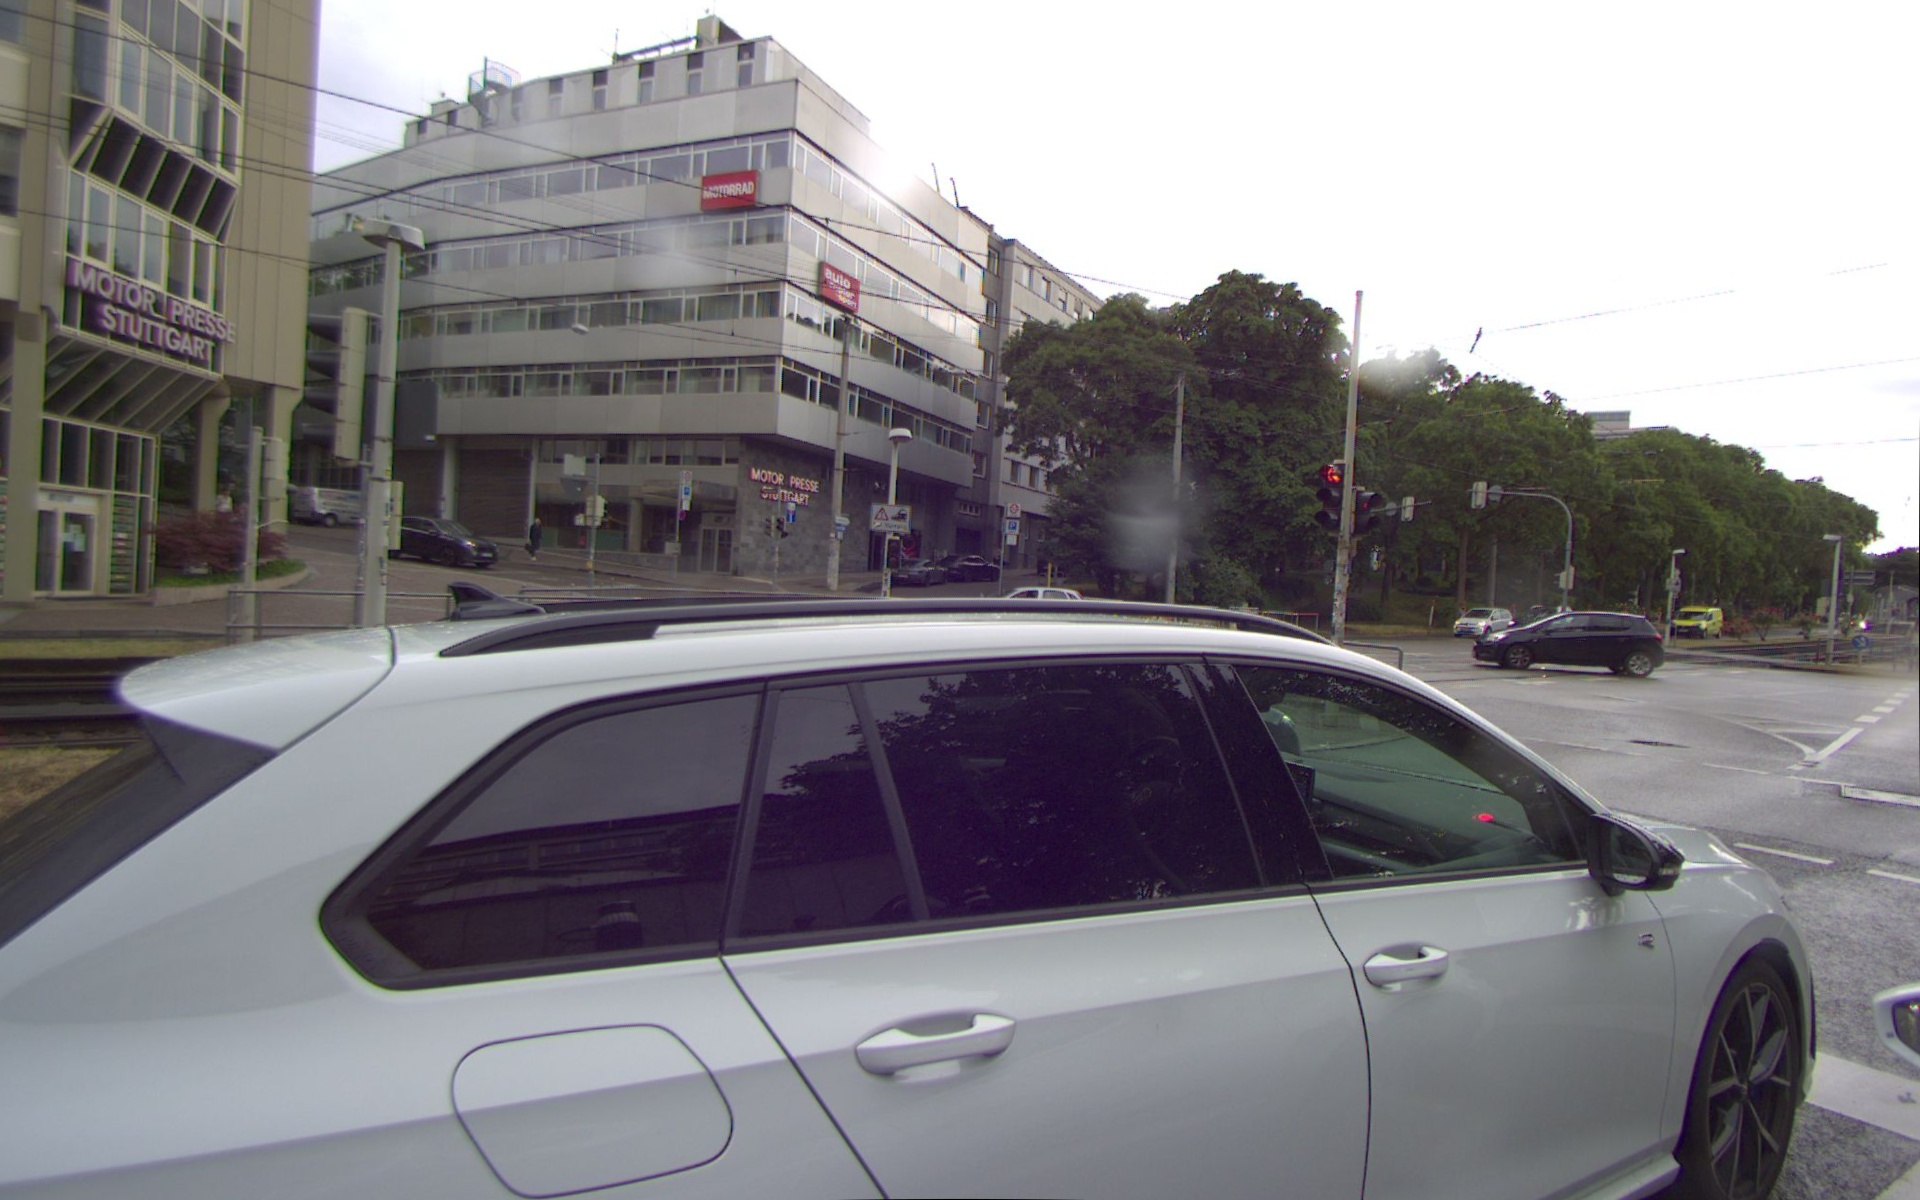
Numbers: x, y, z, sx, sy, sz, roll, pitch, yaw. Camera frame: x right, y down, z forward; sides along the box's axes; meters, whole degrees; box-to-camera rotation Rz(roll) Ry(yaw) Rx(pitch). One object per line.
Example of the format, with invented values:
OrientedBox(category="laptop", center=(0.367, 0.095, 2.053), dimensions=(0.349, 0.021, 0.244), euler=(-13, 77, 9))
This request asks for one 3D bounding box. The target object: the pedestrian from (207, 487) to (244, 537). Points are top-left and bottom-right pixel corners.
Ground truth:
OrientedBox(category="pedestrian", center=(-25.272, -3.026, 34.563), dimensions=(0.746, 1.661, 0.719), euler=(5, 2, 25))

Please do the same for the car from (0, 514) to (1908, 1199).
OrientedBox(category="car", center=(0.305, 0.703, 2.478), dimensions=(4.423, 1.461, 1.787), euler=(2, 0, -30))

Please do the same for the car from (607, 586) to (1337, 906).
OrientedBox(category="car", center=(0.202, 0.720, 6.491), dimensions=(4.423, 1.461, 1.787), euler=(2, 0, -30))

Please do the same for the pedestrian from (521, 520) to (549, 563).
OrientedBox(category="pedestrian", center=(-19.134, -2.631, 45.258), dimensions=(0.833, 1.886, 0.719), euler=(5, 2, 25))

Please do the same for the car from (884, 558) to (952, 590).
OrientedBox(category="car", center=(-2.052, -1.293, 50.616), dimensions=(1.842, 1.450, 4.091), euler=(3, 2, 22))

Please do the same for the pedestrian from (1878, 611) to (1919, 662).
OrientedBox(category="pedestrian", center=(35.493, 1.371, 37.981), dimensions=(0.863, 1.826, 0.860), euler=(1, 2, -33))

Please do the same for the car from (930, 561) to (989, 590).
OrientedBox(category="car", center=(0.038, -1.353, 55.590), dimensions=(1.842, 1.450, 3.998), euler=(3, 2, 22))

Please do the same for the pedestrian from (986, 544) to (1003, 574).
OrientedBox(category="pedestrian", center=(2.145, -2.566, 62.847), dimensions=(0.707, 1.886, 0.758), euler=(5, 4, 31))

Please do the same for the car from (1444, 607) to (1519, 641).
OrientedBox(category="car", center=(26.070, 1.213, 50.189), dimensions=(3.648, 1.566, 1.905), euler=(2, 1, -37))

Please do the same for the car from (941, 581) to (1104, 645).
OrientedBox(category="car", center=(1.522, 0.313, 25.342), dimensions=(3.801, 1.375, 1.630), euler=(3, 2, -9))

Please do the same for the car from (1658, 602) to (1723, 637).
OrientedBox(category="car", center=(43.909, 1.177, 60.348), dimensions=(4.525, 1.875, 1.905), euler=(2, 1, -38))

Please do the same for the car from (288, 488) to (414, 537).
OrientedBox(category="car", center=(-32.024, -4.541, 53.001), dimensions=(1.964, 2.040, 5.403), euler=(2, 0, 30))

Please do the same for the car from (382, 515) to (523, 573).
OrientedBox(category="car", center=(-18.883, -2.082, 37.358), dimensions=(4.794, 1.601, 1.999), euler=(7, 3, 23))

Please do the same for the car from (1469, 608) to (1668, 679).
OrientedBox(category="car", center=(14.614, 1.012, 24.354), dimensions=(3.795, 1.375, 1.632), euler=(3, 2, 20))

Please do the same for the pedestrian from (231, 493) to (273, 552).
OrientedBox(category="pedestrian", center=(-23.078, -2.521, 32.746), dimensions=(0.746, 1.811, 0.830), euler=(5, 2, 25))

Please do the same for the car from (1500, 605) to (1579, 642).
OrientedBox(category="car", center=(27.359, 1.118, 47.393), dimensions=(3.648, 1.566, 1.905), euler=(2, 1, -37))
